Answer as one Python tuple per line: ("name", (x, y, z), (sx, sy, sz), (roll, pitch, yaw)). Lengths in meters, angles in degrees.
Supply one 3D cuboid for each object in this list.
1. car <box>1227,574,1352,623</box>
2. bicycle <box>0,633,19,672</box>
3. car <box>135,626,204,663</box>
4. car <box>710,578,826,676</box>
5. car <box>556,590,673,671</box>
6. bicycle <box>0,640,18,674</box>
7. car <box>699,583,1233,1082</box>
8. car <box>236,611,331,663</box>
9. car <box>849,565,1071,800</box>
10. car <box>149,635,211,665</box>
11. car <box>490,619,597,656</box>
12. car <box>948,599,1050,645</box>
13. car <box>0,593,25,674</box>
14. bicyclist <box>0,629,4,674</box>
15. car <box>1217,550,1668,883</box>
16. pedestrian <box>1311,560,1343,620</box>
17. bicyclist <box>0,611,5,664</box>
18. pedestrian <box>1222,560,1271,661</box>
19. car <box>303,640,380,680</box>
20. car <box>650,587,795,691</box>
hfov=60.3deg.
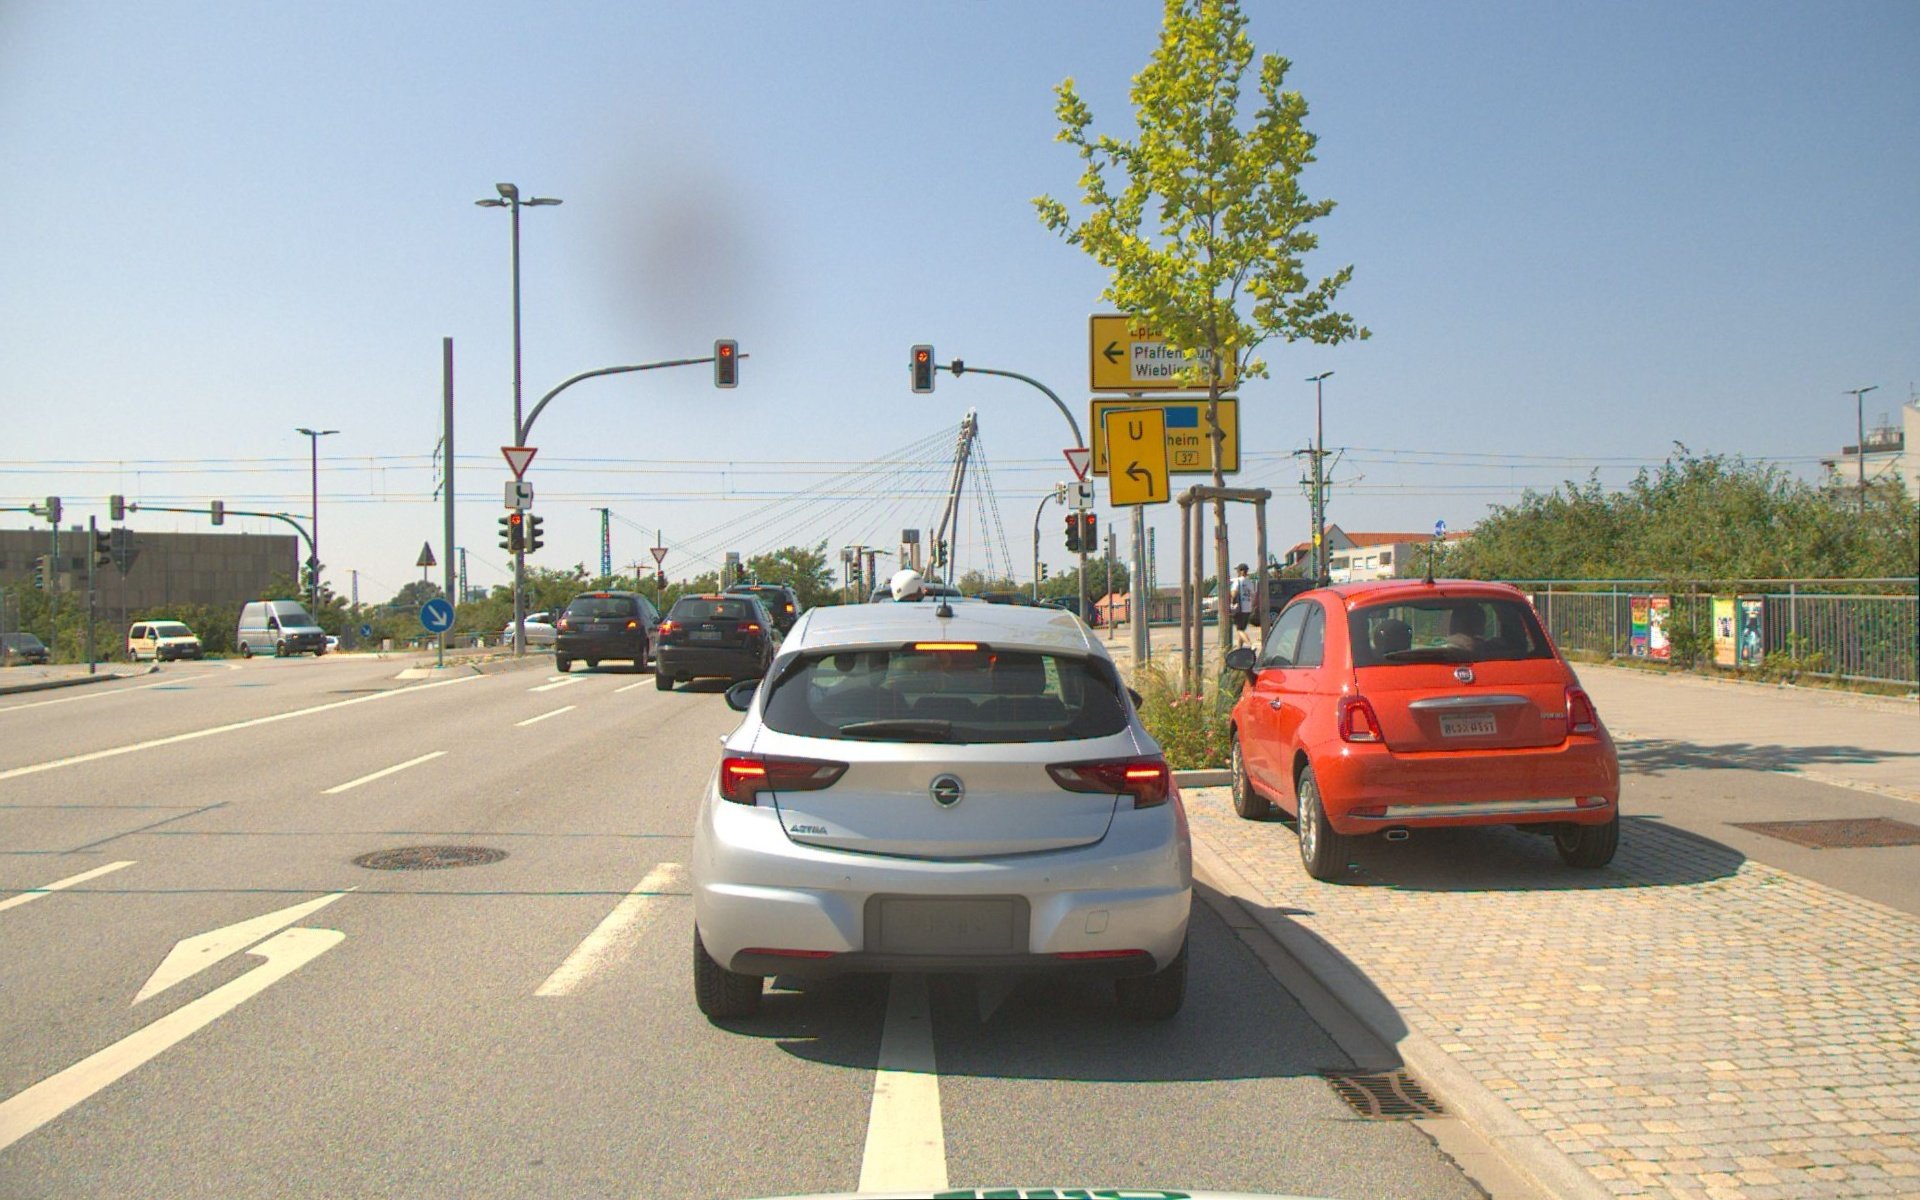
("car", (12.996, -0.052, 65.307), (4.469, 1.815, 1.993), (1, -1, -13))
("bicycle", (-29.440, 1.571, 49.356), (2.309, 1.147, 0.677), (0, -1, 0))
("car", (-34.595, 1.934, 72.363), (3.439, 1.550, 1.628), (0, -1, 44))
("car", (-3.605, 0.507, 31.641), (1.767, 1.650, 3.915), (-3, -1, -2))
("car", (-6.379, 0.558, 30.843), (1.555, 1.419, 3.338), (0, -1, -2))
("bicycle", (-34.382, 2.038, 58.139), (2.471, 1.154, 0.728), (-4, -2, 19))
("car", (-0.028, 0.729, 7.291), (1.656, 1.546, 4.269), (0, 0, -1))
("car", (-29.687, 1.597, 72.501), (4.749, 2.156, 1.788), (1, -1, 40))
("car", (-0.045, 0.634, 14.122), (1.602, 1.703, 3.743), (1, -1, -2))
("car", (-47.728, 3.058, 101.238), (4.130, 1.674, 1.824), (1, -1, 39))
("car", (-16.303, 1.473, 64.782), (3.624, 1.356, 1.773), (1, -1, 16))
("car", (1.485, 0.852, 63.527), (3.769, 1.713, 1.663), (1, -1, -5))
("car", (-25.793, 0.848, 43.729), (1.651, 2.049, 3.964), (2, -1, -28))
("bicyclist", (-34.311, 1.791, 58.075), (0.805, 1.587, 0.863), (3, 0, 17))
("car", (2.658, 0.592, 10.041), (1.635, 1.567, 3.917), (-2, -1, 1))
("pedestrian", (11.787, -0.331, 53.140), (0.739, 1.896, 0.739), (0, -1, 36))
("bicyclist", (-29.271, 1.110, 49.411), (0.925, 1.596, 0.823), (1, -1, 4))
("pedestrian", (5.418, 0.198, 31.328), (0.743, 1.862, 0.884), (1, -1, -1))
("car", (-33.295, 3.196, 89.027), (3.917, 2.049, 1.994), (0, -1, 34))
("car", (-3.602, 0.586, 25.652), (1.671, 1.437, 3.999), (2, -1, -1))
